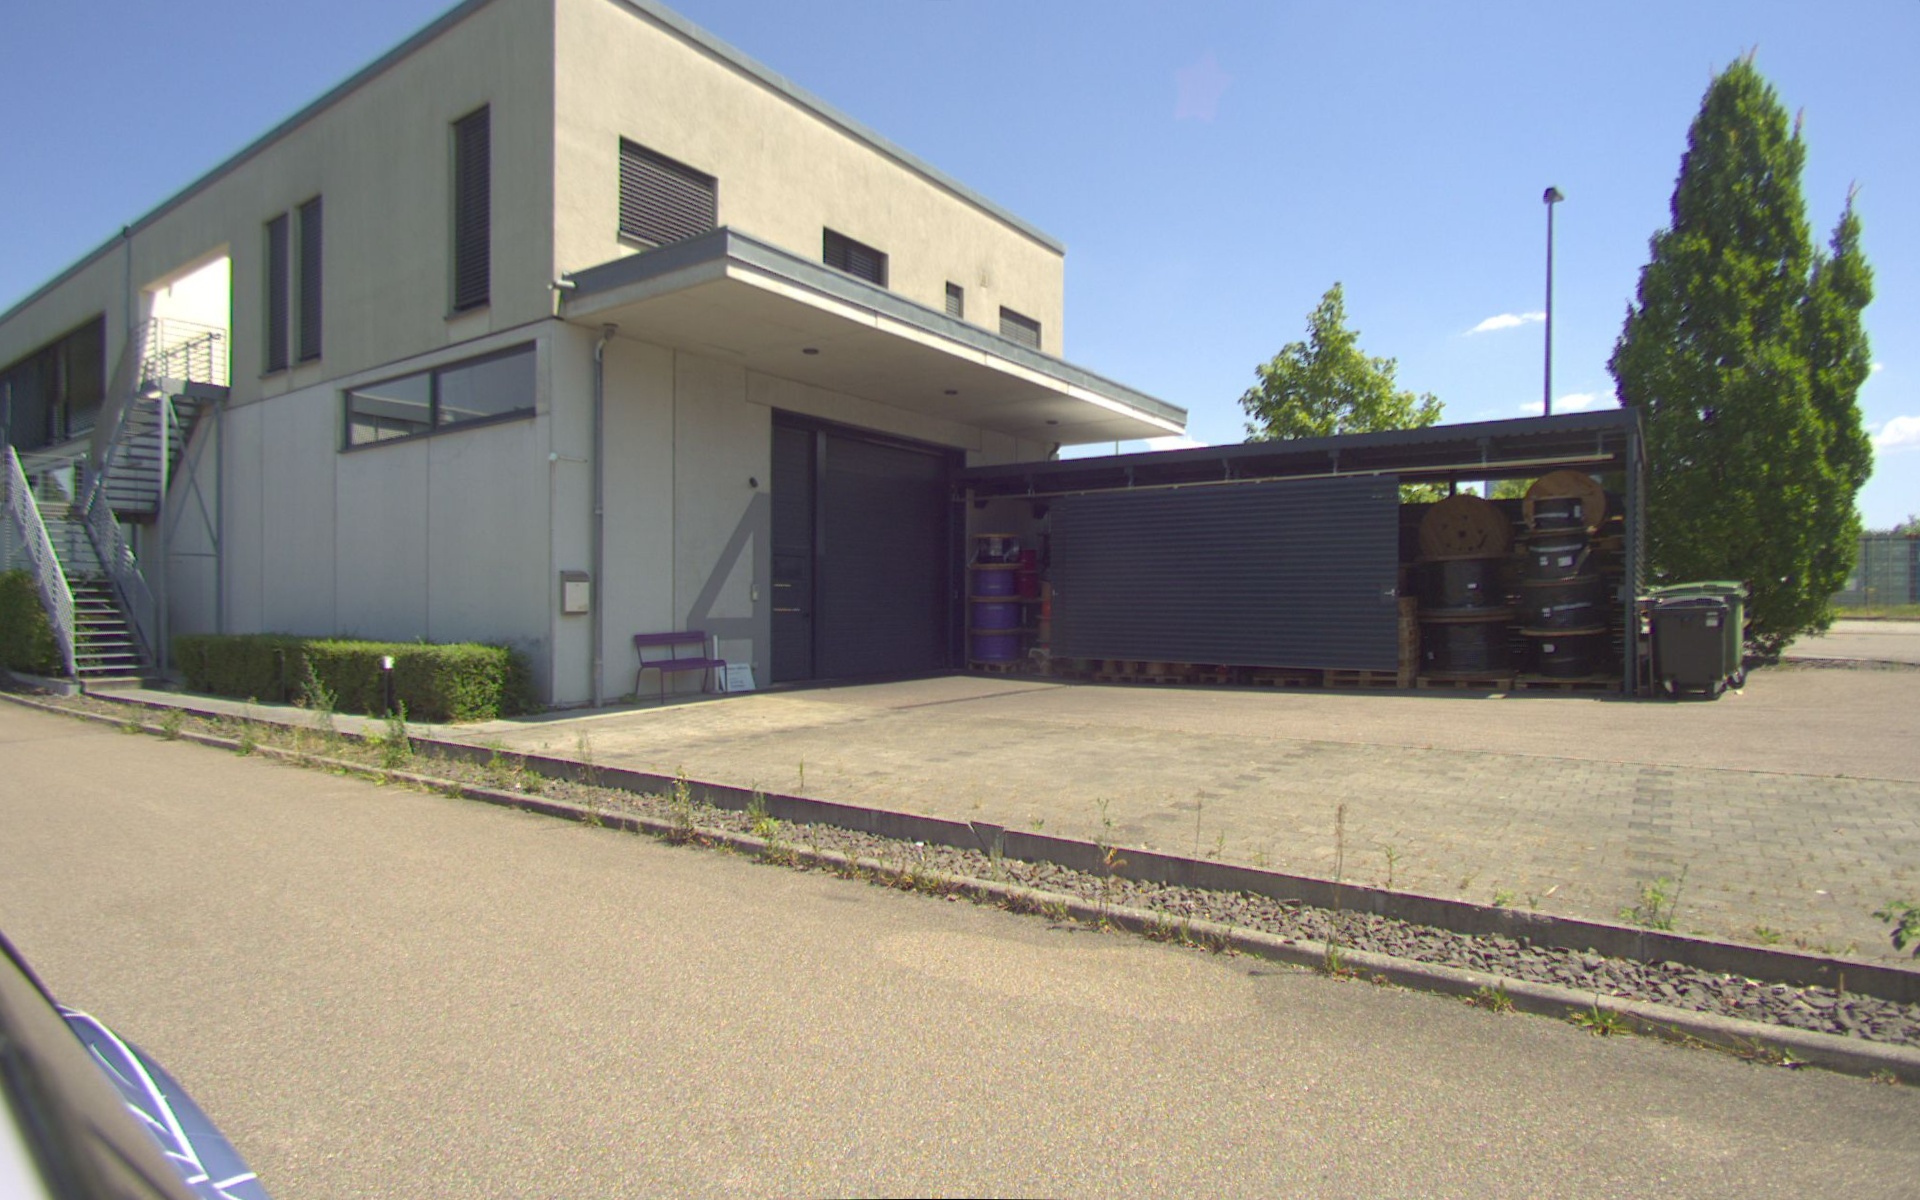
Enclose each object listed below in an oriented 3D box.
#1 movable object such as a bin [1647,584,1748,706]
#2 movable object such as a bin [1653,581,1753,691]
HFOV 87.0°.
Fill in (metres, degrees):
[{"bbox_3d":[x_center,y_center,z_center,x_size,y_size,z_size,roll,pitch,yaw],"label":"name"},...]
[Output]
[{"bbox_3d":[8.621,0.505,11.828,0.884,1.355,0.802,-1,0,41],"label":"movable object such as a bin"},{"bbox_3d":[9.478,0.446,12.912,0.973,1.340,0.700,-1,0,41],"label":"movable object such as a bin"}]
